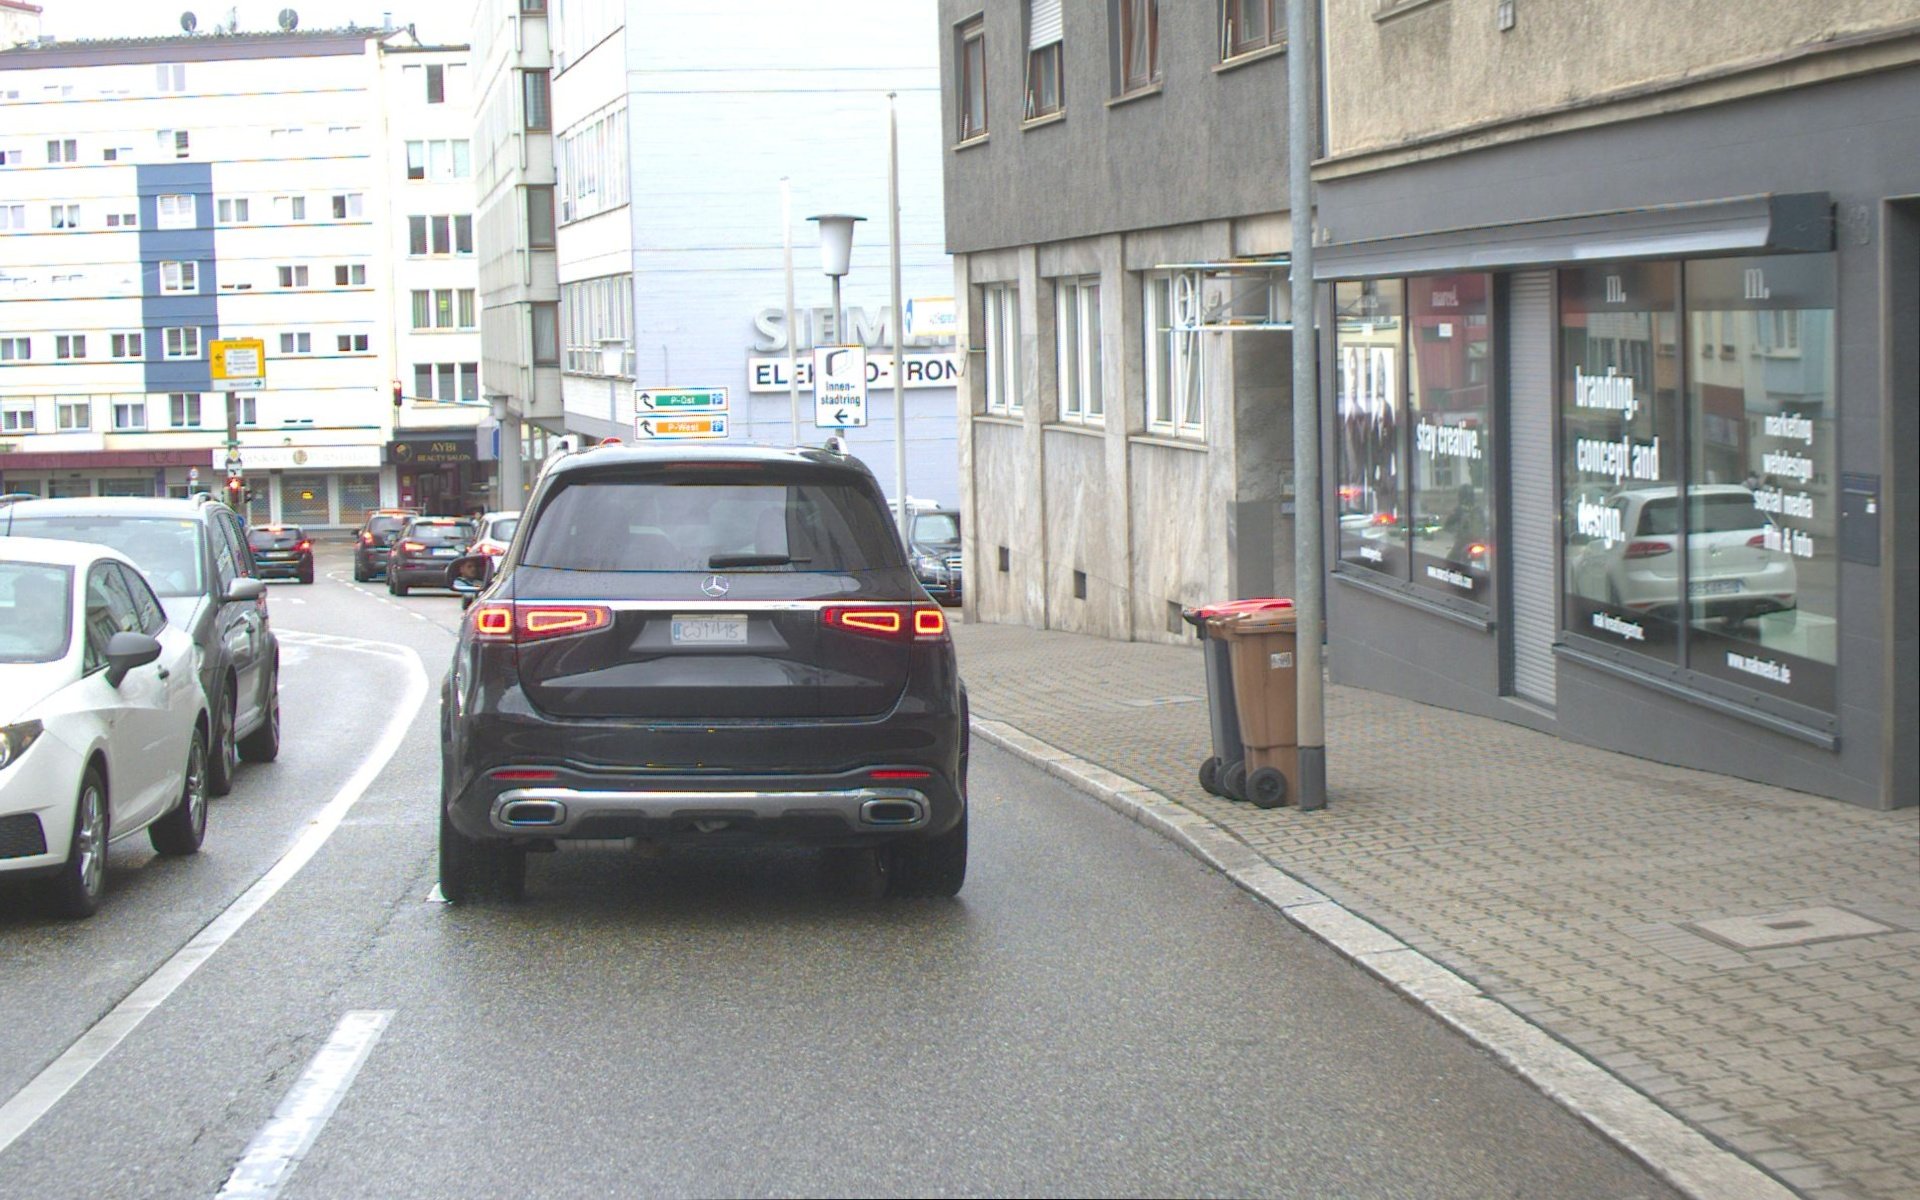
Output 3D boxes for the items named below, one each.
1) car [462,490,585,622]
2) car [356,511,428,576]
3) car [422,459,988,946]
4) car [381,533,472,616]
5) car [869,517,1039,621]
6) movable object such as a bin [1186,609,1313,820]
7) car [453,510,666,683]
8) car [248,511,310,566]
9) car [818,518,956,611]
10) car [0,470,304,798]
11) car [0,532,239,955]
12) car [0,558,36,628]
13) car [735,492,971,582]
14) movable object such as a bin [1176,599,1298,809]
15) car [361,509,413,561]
[{"bbox_3d":[-6.881,-0.726,54.002,1.753,1.774,3.577,-1,6,-10],"label":"car"},{"bbox_3d":[-14.080,-1.416,85.176,1.522,1.543,3.108,-1,2,-13],"label":"car"},{"bbox_3d":[-1.178,0.308,14.697,2.020,1.733,4.748,0,1,-7],"label":"car"},{"bbox_3d":[-10.564,-0.522,67.946,1.522,1.543,3.108,-1,2,-13],"label":"car"},{"bbox_3d":[-0.138,-0.495,51.614,1.796,1.472,4.486,0,1,-10],"label":"car"},{"bbox_3d":[1.378,0.540,16.439,0.524,0.947,0.537,0,5,-3],"label":"movable object such as a bin"},{"bbox_3d":[-3.830,-0.054,33.196,1.830,1.456,4.380,-3,1,-6],"label":"car"},{"bbox_3d":[-16.371,-1.492,82.707,1.285,1.120,2.788,0,6,-8],"label":"car"},{"bbox_3d":[-1.244,-0.619,56.888,1.565,1.472,4.071,0,1,-11],"label":"car"},{"bbox_3d":[-4.991,0.142,20.217,1.806,1.699,4.562,1,1,-6],"label":"car"},{"bbox_3d":[-4.151,0.458,14.110,1.698,1.475,4.291,1,1,-3],"label":"car"},{"bbox_3d":[-23.052,-0.148,82.071,1.714,1.581,4.145,-3,1,-14],"label":"car"},{"bbox_3d":[-1.979,-1.143,63.742,3.987,1.592,1.799,0,0,-30],"label":"car"},{"bbox_3d":[1.366,0.508,17.001,0.524,0.977,0.537,0,5,-3],"label":"movable object such as a bin"},{"bbox_3d":[-17.450,-1.994,104.635,1.522,1.543,3.108,-1,2,-9],"label":"car"}]
